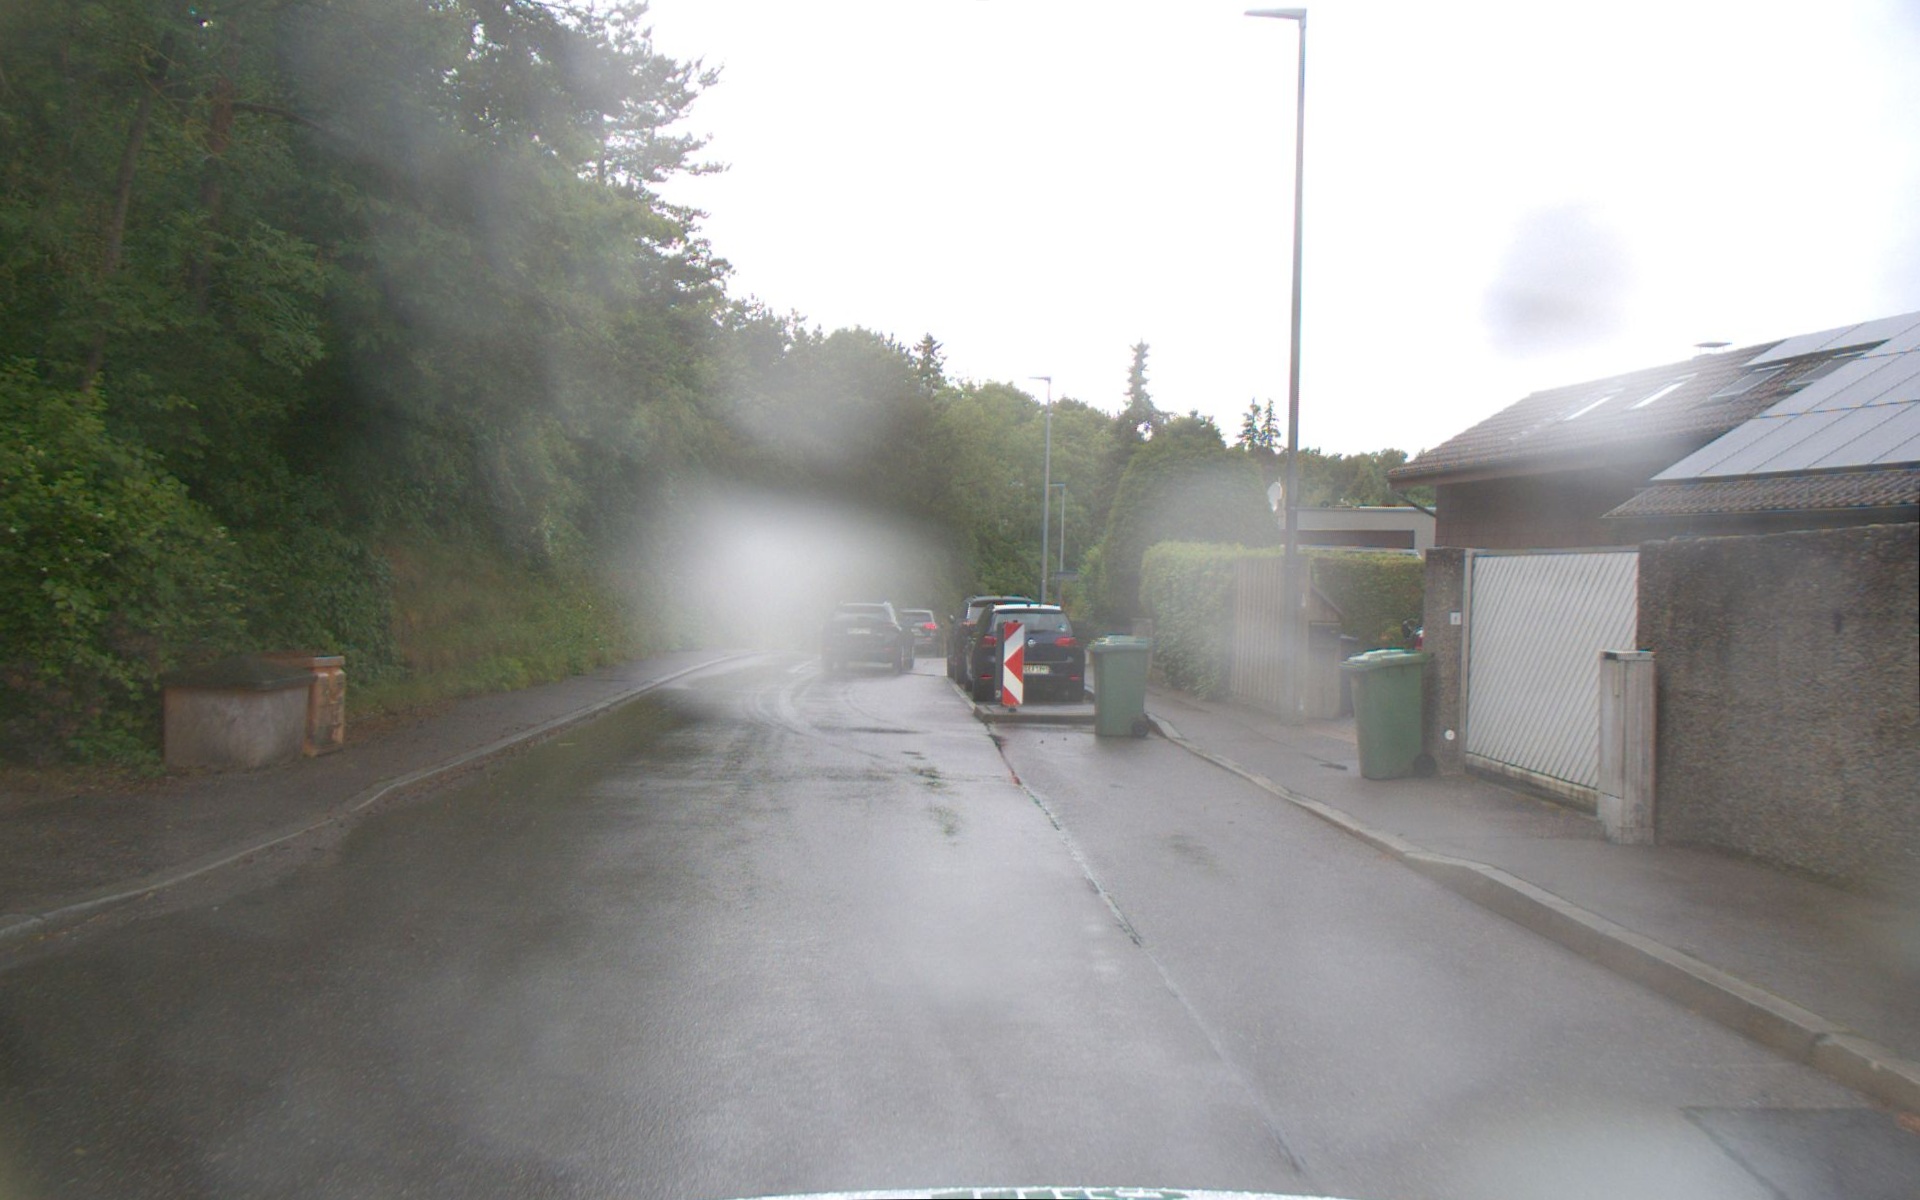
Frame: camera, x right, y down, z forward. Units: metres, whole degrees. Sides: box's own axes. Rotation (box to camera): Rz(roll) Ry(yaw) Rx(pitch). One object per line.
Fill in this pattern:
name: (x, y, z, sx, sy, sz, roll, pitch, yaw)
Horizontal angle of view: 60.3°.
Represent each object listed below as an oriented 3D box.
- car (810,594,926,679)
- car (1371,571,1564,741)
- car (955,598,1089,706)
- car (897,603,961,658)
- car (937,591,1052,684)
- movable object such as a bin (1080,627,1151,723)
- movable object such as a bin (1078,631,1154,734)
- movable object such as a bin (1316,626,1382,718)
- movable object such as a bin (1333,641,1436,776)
car: (-1.909, 0.829, 35.653, 1.829, 1.539, 4.094, 3, -4, 5)
car: (6.286, 0.685, 20.625, 1.952, 1.749, 4.411, 4, -1, 17)
car: (0.902, 0.757, 26.266, 1.721, 1.487, 4.298, 2, 0, -3)
car: (-0.979, 0.951, 53.810, 1.953, 1.633, 4.409, 2, 0, 0)
car: (0.586, 0.661, 31.684, 1.838, 1.620, 4.477, 1, 0, -3)
movable object such as a bin: (1.873, 0.897, 19.947, 0.714, 1.097, 0.660, 2, 0, -5)
movable object such as a bin: (1.766, 0.933, 18.793, 0.702, 1.114, 0.655, 2, 0, -7)
movable object such as a bin: (5.140, 0.944, 21.821, 0.732, 1.123, 0.820, 4, -1, 16)
movable object such as a bin: (3.651, 0.921, 14.249, 0.724, 1.107, 0.600, -1, 0, 0)
